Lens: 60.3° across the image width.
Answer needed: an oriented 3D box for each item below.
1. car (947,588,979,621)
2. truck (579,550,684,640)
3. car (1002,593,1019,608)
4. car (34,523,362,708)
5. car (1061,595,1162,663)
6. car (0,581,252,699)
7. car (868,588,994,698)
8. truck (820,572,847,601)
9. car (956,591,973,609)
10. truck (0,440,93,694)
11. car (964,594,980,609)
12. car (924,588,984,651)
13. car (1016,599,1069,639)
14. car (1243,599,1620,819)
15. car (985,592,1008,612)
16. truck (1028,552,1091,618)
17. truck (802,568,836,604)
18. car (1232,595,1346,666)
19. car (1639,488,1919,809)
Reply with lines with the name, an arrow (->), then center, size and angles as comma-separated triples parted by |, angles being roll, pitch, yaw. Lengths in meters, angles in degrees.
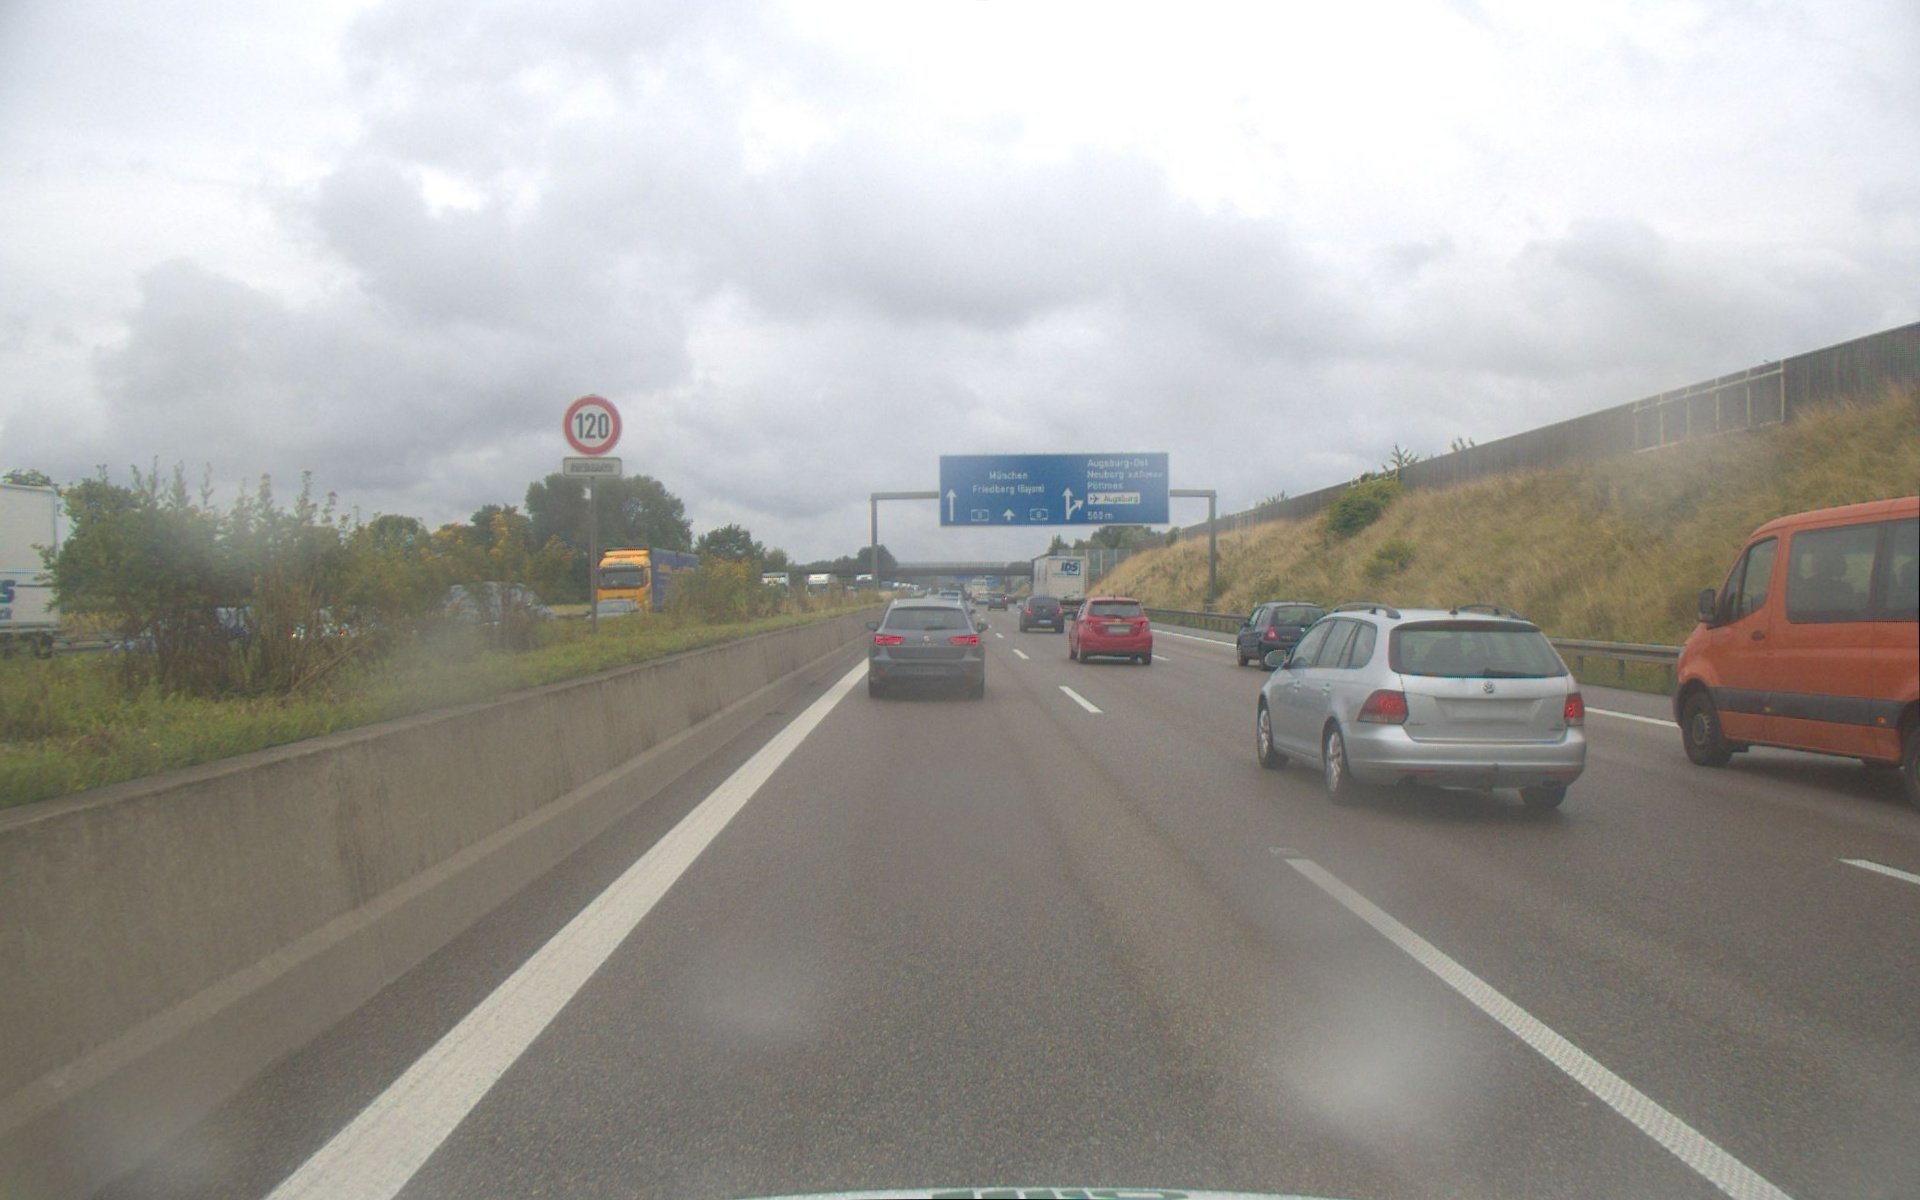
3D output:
car -> 0.180, 0.233, 96.051 | 1.670, 1.828, 3.854 | -2, 0, -2
truck -> -17.282, -0.225, 87.817 | 3.343, 4.440, 10.989 | 1, 0, 0
car -> 6.828, 0.061, 224.561 | 1.954, 1.892, 4.388 | 0, 0, -3
car -> -9.466, 0.164, 21.077 | 1.953, 2.049, 4.835 | -1, 0, -1
car -> 3.478, 0.633, 38.780 | 1.852, 1.472, 4.684 | 0, 0, -1
car -> -12.508, 0.551, 25.098 | 1.829, 1.624, 3.999 | -1, 0, -1
car -> -0.457, 0.608, 25.044 | 1.733, 1.493, 3.999 | 1, 0, -2
truck -> -13.508, -1.381, 177.215 | 2.264, 2.959, 7.423 | 1, 0, 0
car -> 0.530, 0.033, 195.947 | 1.953, 2.049, 4.241 | 1, 0, 0
truck -> -16.839, -0.566, 23.593 | 3.118, 4.036, 10.810 | 1, 0, 0
car -> 1.742, 0.197, 237.459 | 1.954, 2.049, 3.997 | 0, 0, -3
car -> -0.202, 0.570, 50.076 | 1.718, 1.780, 3.999 | 1, 0, -1
car -> 3.314, 0.732, 67.213 | 1.882, 1.548, 4.621 | 0, 0, -1
car -> 3.568, 0.732, 13.418 | 1.706, 1.450, 4.516 | 0, 0, -1
car -> 3.211, 0.160, 145.760 | 1.808, 1.716, 3.998 | 1, 0, -2
truck -> 6.975, -0.960, 118.991 | 3.216, 4.370, 19.030 | 1, 0, 0
truck -> -17.466, -1.674, 205.595 | 3.541, 4.349, 7.591 | 1, 0, 0
car -> 7.092, 0.638, 35.971 | 1.667, 1.426, 3.874 | 1, 0, -1
car -> 8.027, 0.344, 13.806 | 2.044, 2.355, 6.179 | 0, 0, -2
